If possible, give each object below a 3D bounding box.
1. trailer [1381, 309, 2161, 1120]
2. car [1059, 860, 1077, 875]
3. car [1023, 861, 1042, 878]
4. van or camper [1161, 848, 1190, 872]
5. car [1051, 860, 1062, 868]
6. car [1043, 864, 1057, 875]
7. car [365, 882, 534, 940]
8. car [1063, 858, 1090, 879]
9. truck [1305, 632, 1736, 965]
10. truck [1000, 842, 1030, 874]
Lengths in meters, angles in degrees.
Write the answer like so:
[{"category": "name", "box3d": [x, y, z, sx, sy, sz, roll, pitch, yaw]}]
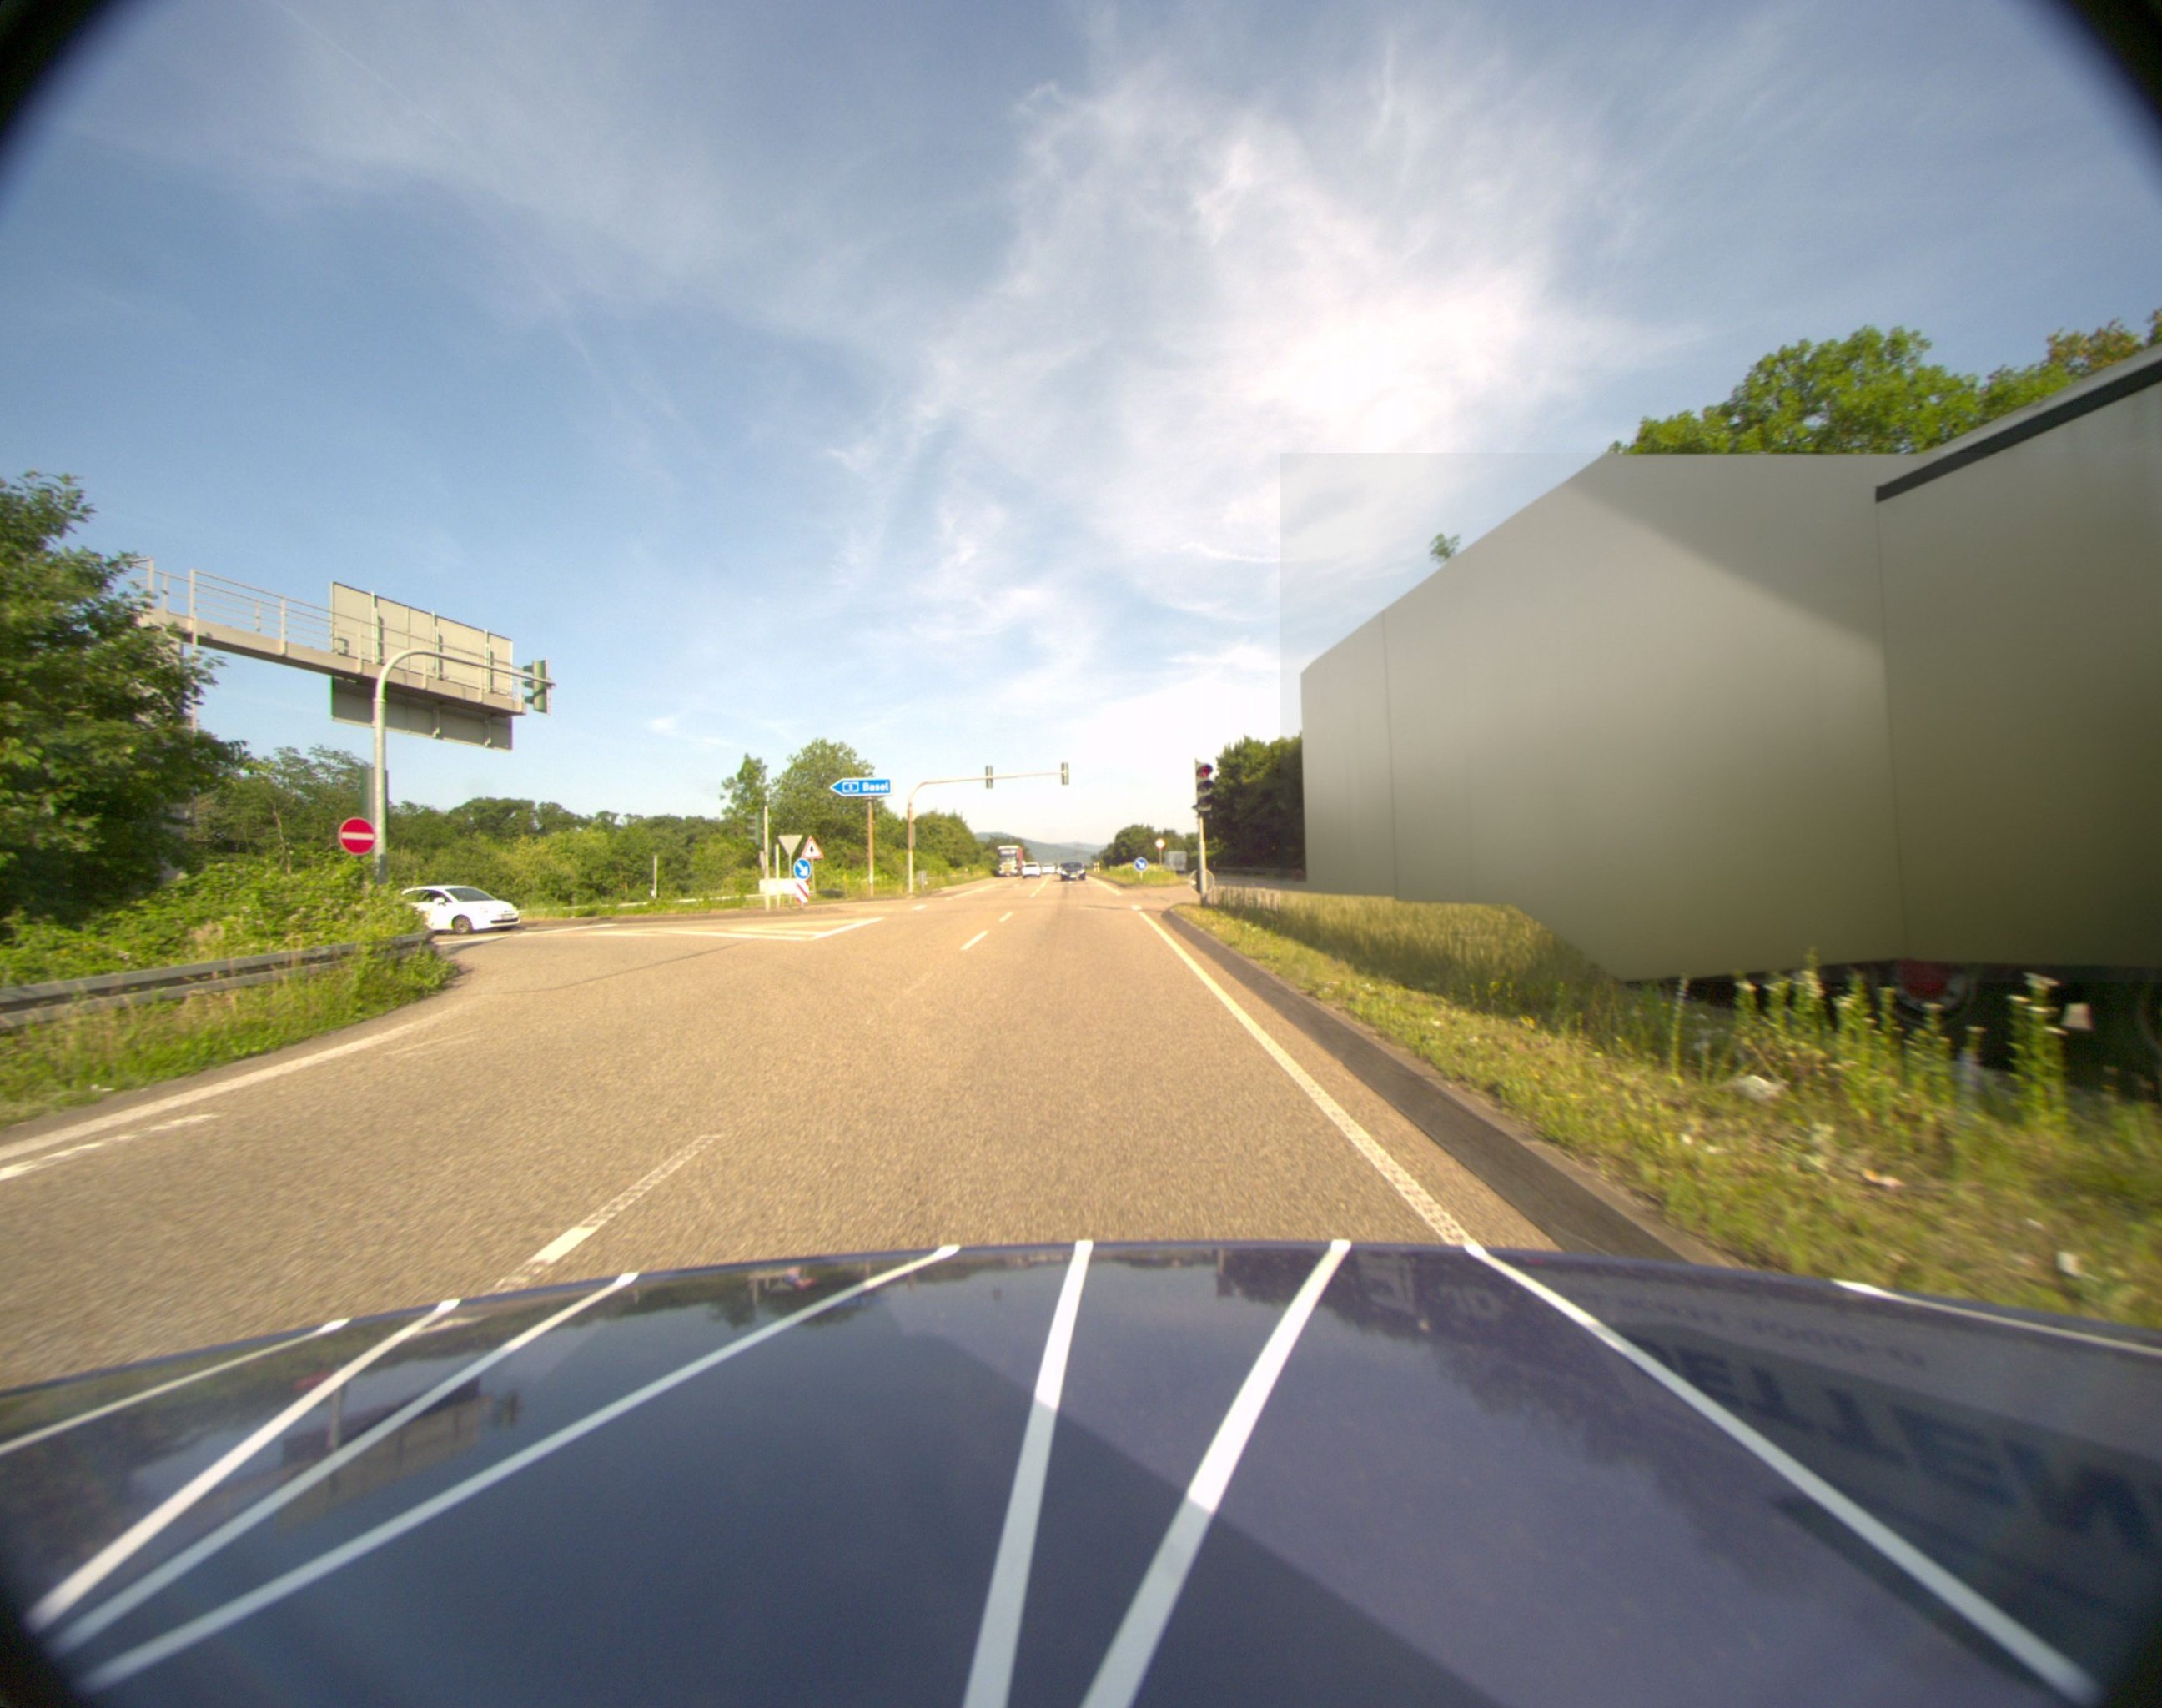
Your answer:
[{"category": "trailer", "box3d": [6.753, -0.719, 5.374, 3.000, 3.972, 14.011, -3, 0, -2]}, {"category": "car", "box3d": [-1.589, 1.625, 92.801, 1.999, 1.632, 3.999, -3, 0, -2]}, {"category": "car", "box3d": [-4.919, 1.563, 78.087, 1.875, 1.625, 4.833, -1, 0, -3]}, {"category": "van or camper", "box3d": [11.306, 0.710, 91.356, 2.419, 2.695, 6.436, 1, 0, -1]}, {"category": "car", "box3d": [-5.199, 2.139, 159.333, 1.999, 1.632, 3.999, -3, 0, -4]}, {"category": "car", "box3d": [-5.109, 2.532, 123.922, 1.999, 1.632, 3.999, -3, 0, -4]}, {"category": "car", "box3d": [-18.949, 1.688, 22.898, 3.606, 1.494, 1.809, -2, 0, 3]}, {"category": "car", "box3d": [-0.392, 1.066, 57.800, 1.862, 1.452, 4.568, -3, 0, -2]}, {"category": "truck", "box3d": [6.435, -0.677, 12.719, 2.899, 3.974, 6.720, -3, 0, -3]}, {"category": "truck", "box3d": [-8.972, 0.572, 105.374, 3.197, 3.995, 14.561, -3, 0, -2]}]
